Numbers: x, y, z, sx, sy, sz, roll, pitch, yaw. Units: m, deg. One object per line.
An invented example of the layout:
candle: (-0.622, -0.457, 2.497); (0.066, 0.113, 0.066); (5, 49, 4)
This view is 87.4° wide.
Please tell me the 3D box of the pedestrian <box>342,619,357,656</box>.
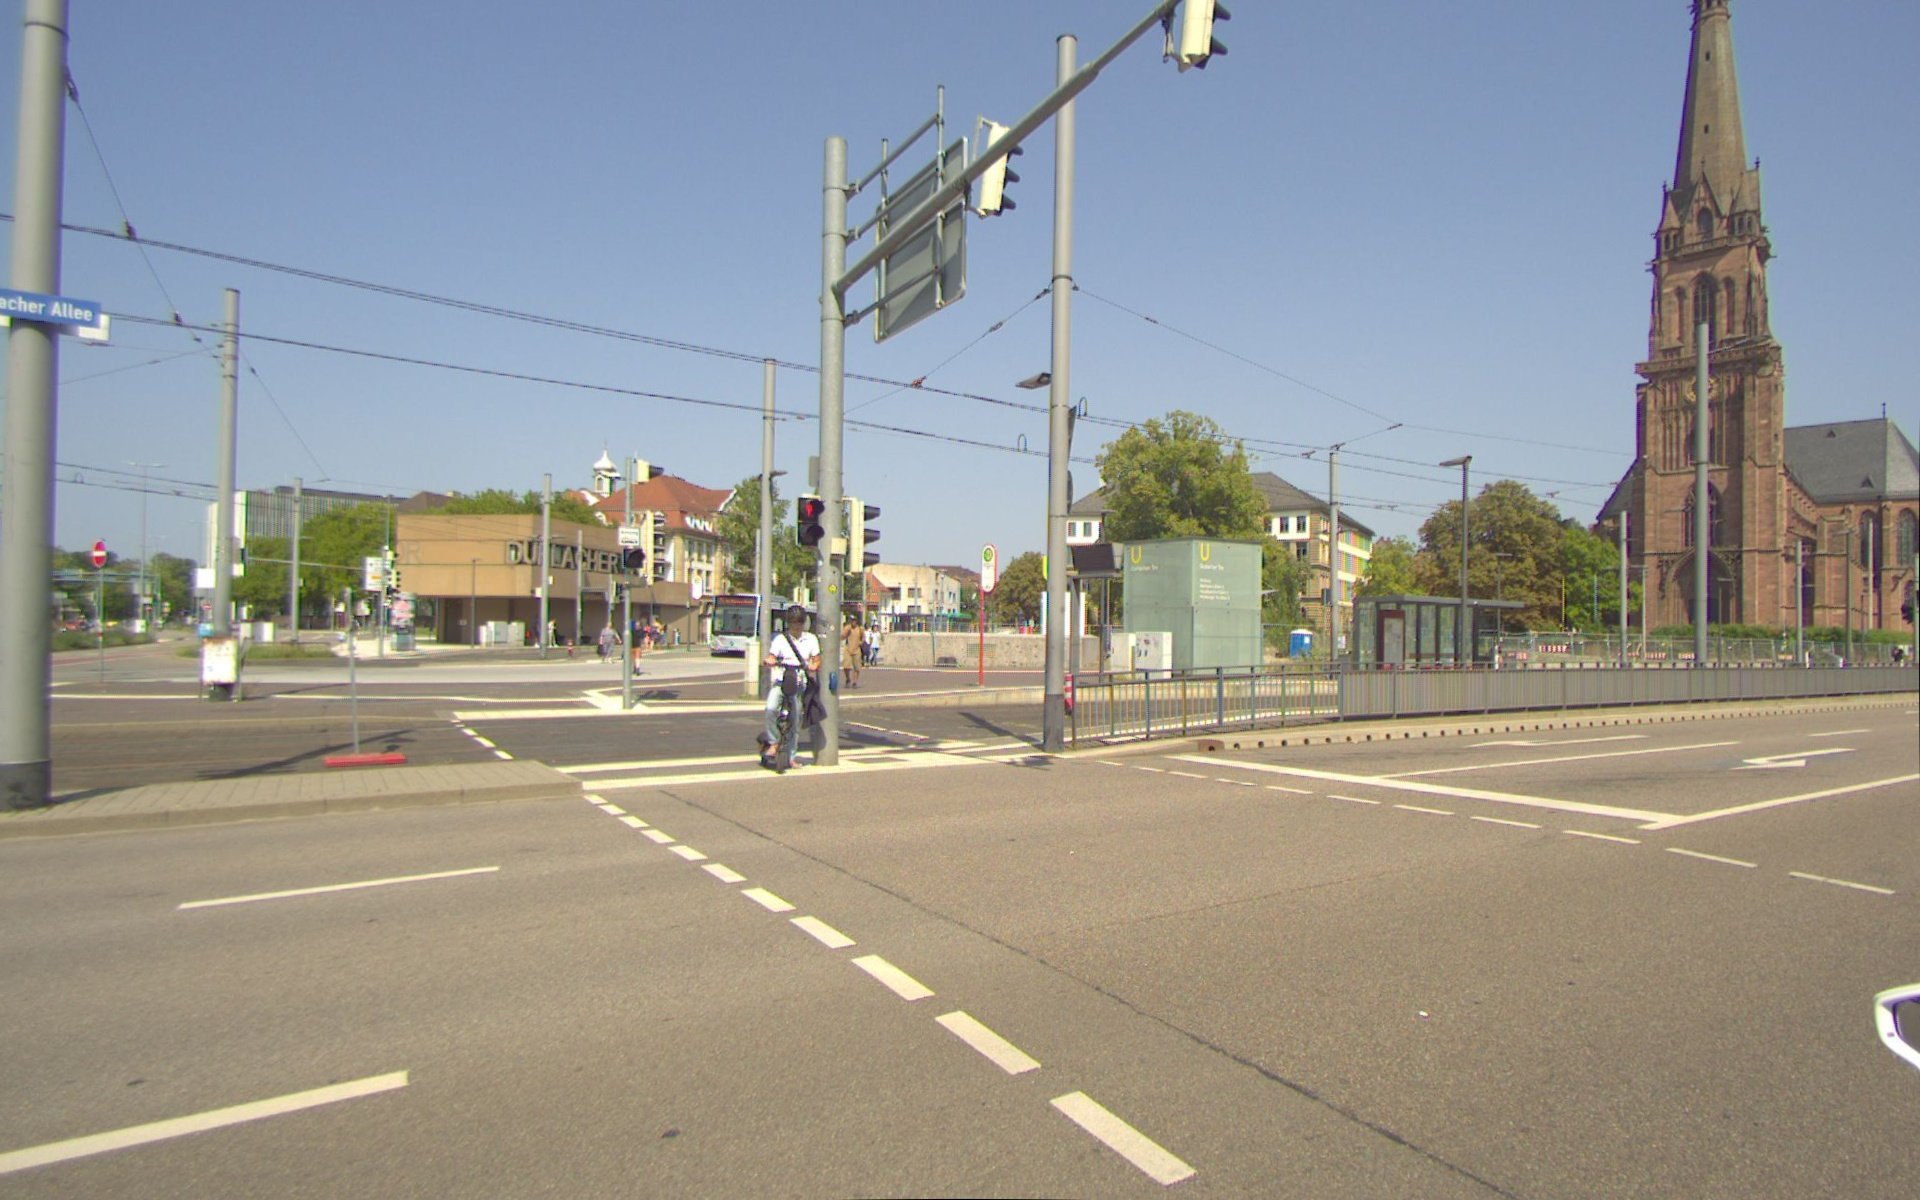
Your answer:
pedestrian: (-30.613, 1.888, 50.395); (0.554, 1.840, 0.557); (1, -2, -28)

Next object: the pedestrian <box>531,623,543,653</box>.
pedestrian: (-23.715, 2.137, 56.275); (0.564, 1.667, 0.508); (0, 0, -30)

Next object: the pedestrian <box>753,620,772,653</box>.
pedestrian: (-9.224, 1.703, 46.913); (0.588, 1.548, 0.577); (1, -2, 22)

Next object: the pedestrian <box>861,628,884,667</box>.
pedestrian: (-3.584, 1.929, 41.055); (0.768, 1.569, 0.679); (2, -1, 7)

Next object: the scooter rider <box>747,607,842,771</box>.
scooter rider: (-1.809, 0.957, 10.957); (0.772, 1.695, 0.766); (2, -4, -36)

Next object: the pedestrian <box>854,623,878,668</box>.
pedestrian: (-3.656, 1.764, 39.091); (0.768, 1.751, 0.679); (1, -2, 7)

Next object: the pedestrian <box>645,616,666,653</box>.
pedestrian: (-15.114, 1.711, 49.808); (0.775, 1.803, 0.953); (3, -2, -26)

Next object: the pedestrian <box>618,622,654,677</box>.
pedestrian: (-10.883, 1.650, 33.766); (0.948, 1.803, 0.779); (3, -2, -30)

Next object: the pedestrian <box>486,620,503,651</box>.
pedestrian: (-25.394, 1.924, 54.795); (0.566, 1.698, 0.587); (-1, 0, 14)

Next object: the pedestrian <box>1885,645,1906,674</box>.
pedestrian: (58.173, 3.674, 62.445); (0.713, 1.774, 0.824); (3, -2, -32)

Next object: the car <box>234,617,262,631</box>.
car: (-90.409, 3.050, 127.560); (1.875, 1.674, 4.633); (1, -2, -22)

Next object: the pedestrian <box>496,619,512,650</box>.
pedestrian: (-25.209, 1.882, 55.523); (0.566, 1.698, 0.587); (-1, 0, 14)

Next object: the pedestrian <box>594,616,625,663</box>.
pedestrian: (-13.893, 1.565, 39.802); (0.948, 1.803, 0.779); (3, -2, -30)

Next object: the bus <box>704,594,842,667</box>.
bus: (-9.591, 1.627, 53.671); (2.623, 3.375, 12.768); (1, -2, 11)

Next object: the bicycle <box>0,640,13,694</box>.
bicycle: (-20.186, 1.327, 19.935); (1.890, 1.083, 0.610); (2, -2, -29)

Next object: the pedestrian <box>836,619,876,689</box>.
pedestrian: (-2.557, 1.319, 24.765); (0.565, 1.681, 0.797); (-1, 0, 39)

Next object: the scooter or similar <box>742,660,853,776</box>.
scooter or similar: (-1.786, 1.238, 10.943); (0.702, 1.163, 1.330); (2, -4, -34)

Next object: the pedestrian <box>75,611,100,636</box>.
pedestrian: (-64.542, 1.735, 74.332); (0.953, 1.808, 1.113); (1, -2, -17)

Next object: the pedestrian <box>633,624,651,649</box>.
pedestrian: (-21.839, 2.521, 68.971); (0.779, 1.701, 0.856); (-1, 0, 14)
